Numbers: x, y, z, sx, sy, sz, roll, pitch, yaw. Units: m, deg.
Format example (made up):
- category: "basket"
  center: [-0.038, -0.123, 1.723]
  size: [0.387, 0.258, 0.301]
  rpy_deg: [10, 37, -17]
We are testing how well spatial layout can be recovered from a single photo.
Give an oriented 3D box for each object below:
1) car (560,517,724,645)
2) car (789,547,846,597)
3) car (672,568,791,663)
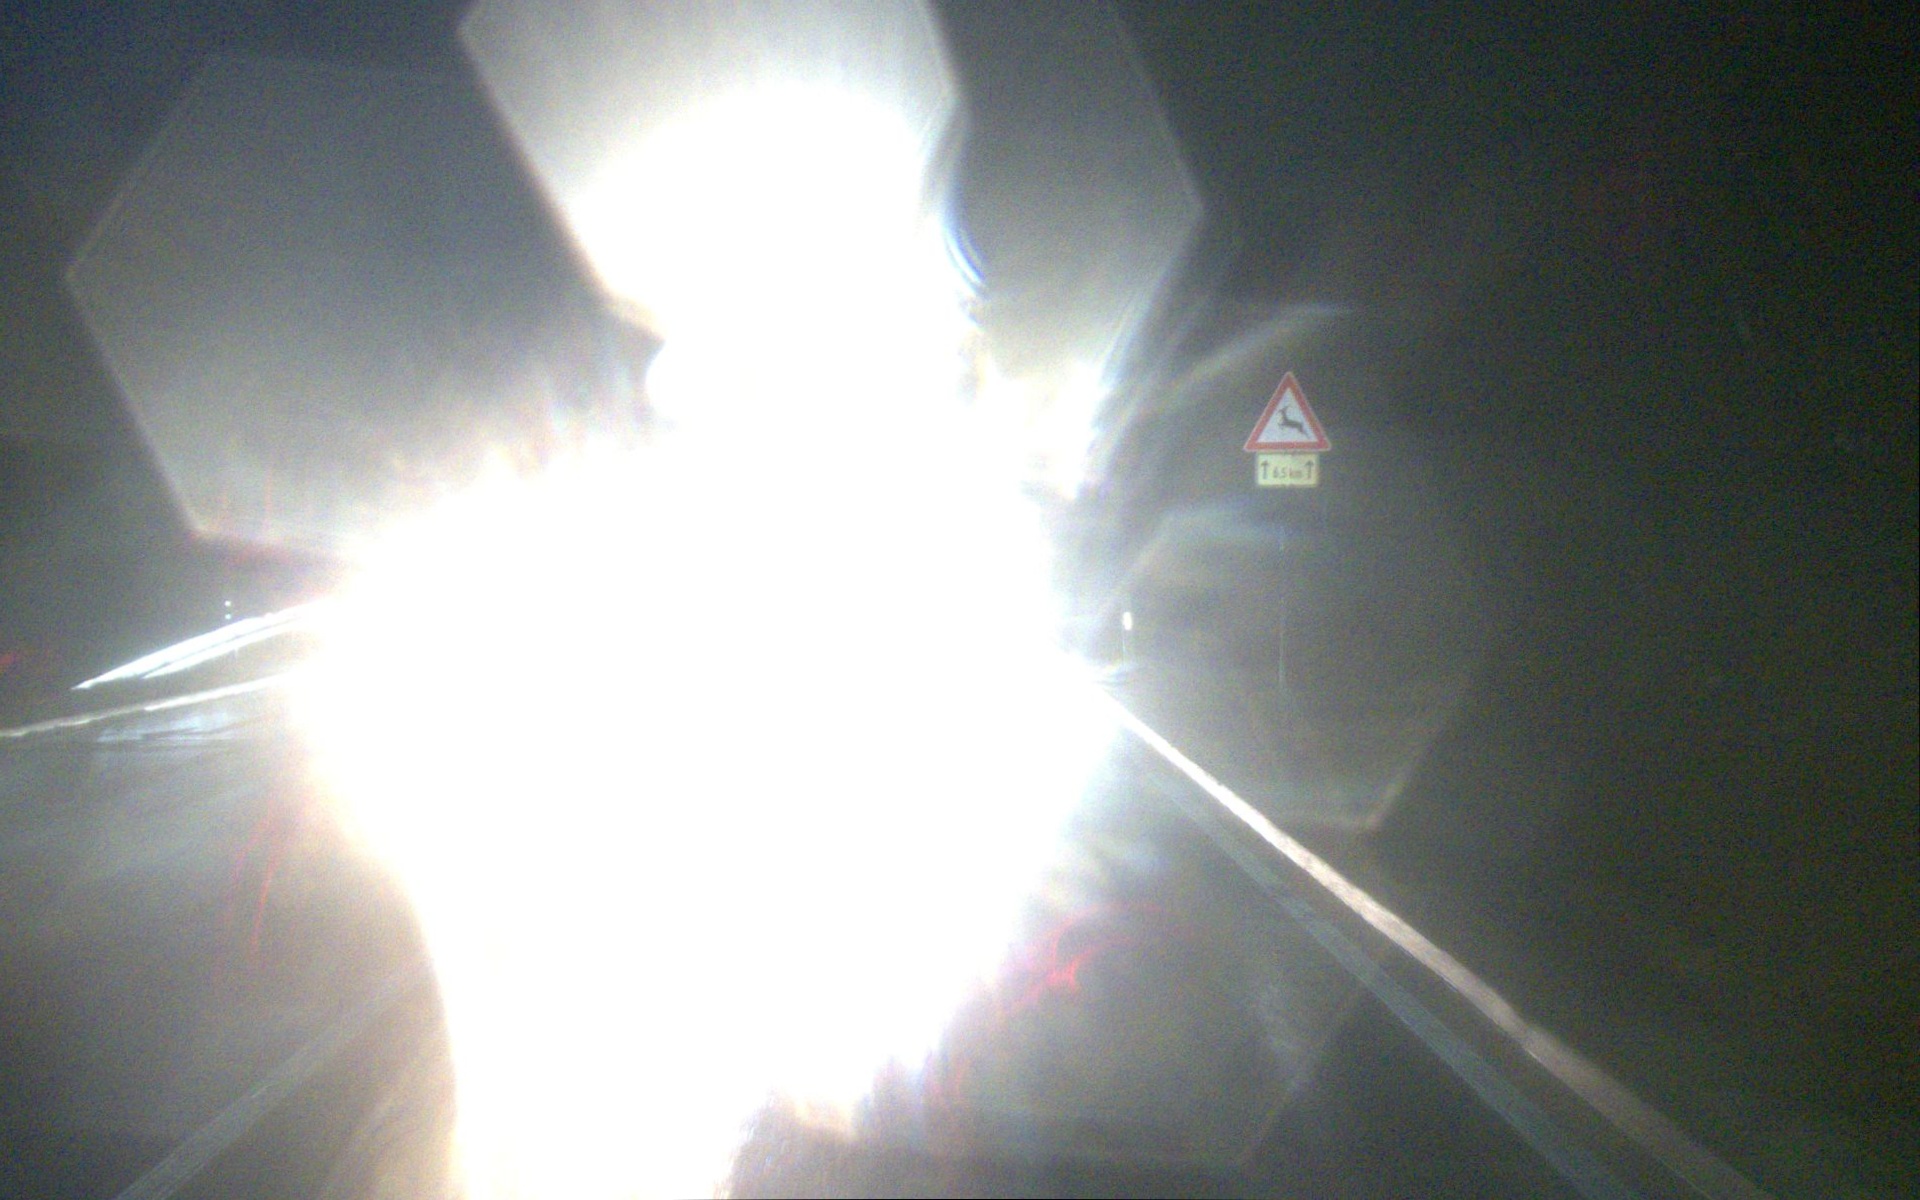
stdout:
- category: "car"
  center: [-4.364, -0.305, 47.732]
  size: [1.888, 1.665, 4.000]
  rpy_deg: [-1, 1, 0]
- category: "car"
  center: [-4.411, -0.878, 106.868]
  size: [1.700, 1.462, 4.042]
  rpy_deg: [-1, 1, -2]
- category: "car"
  center: [-4.128, 0.257, 62.721]
  size: [1.888, 1.581, 4.000]
  rpy_deg: [-1, 1, 0]
